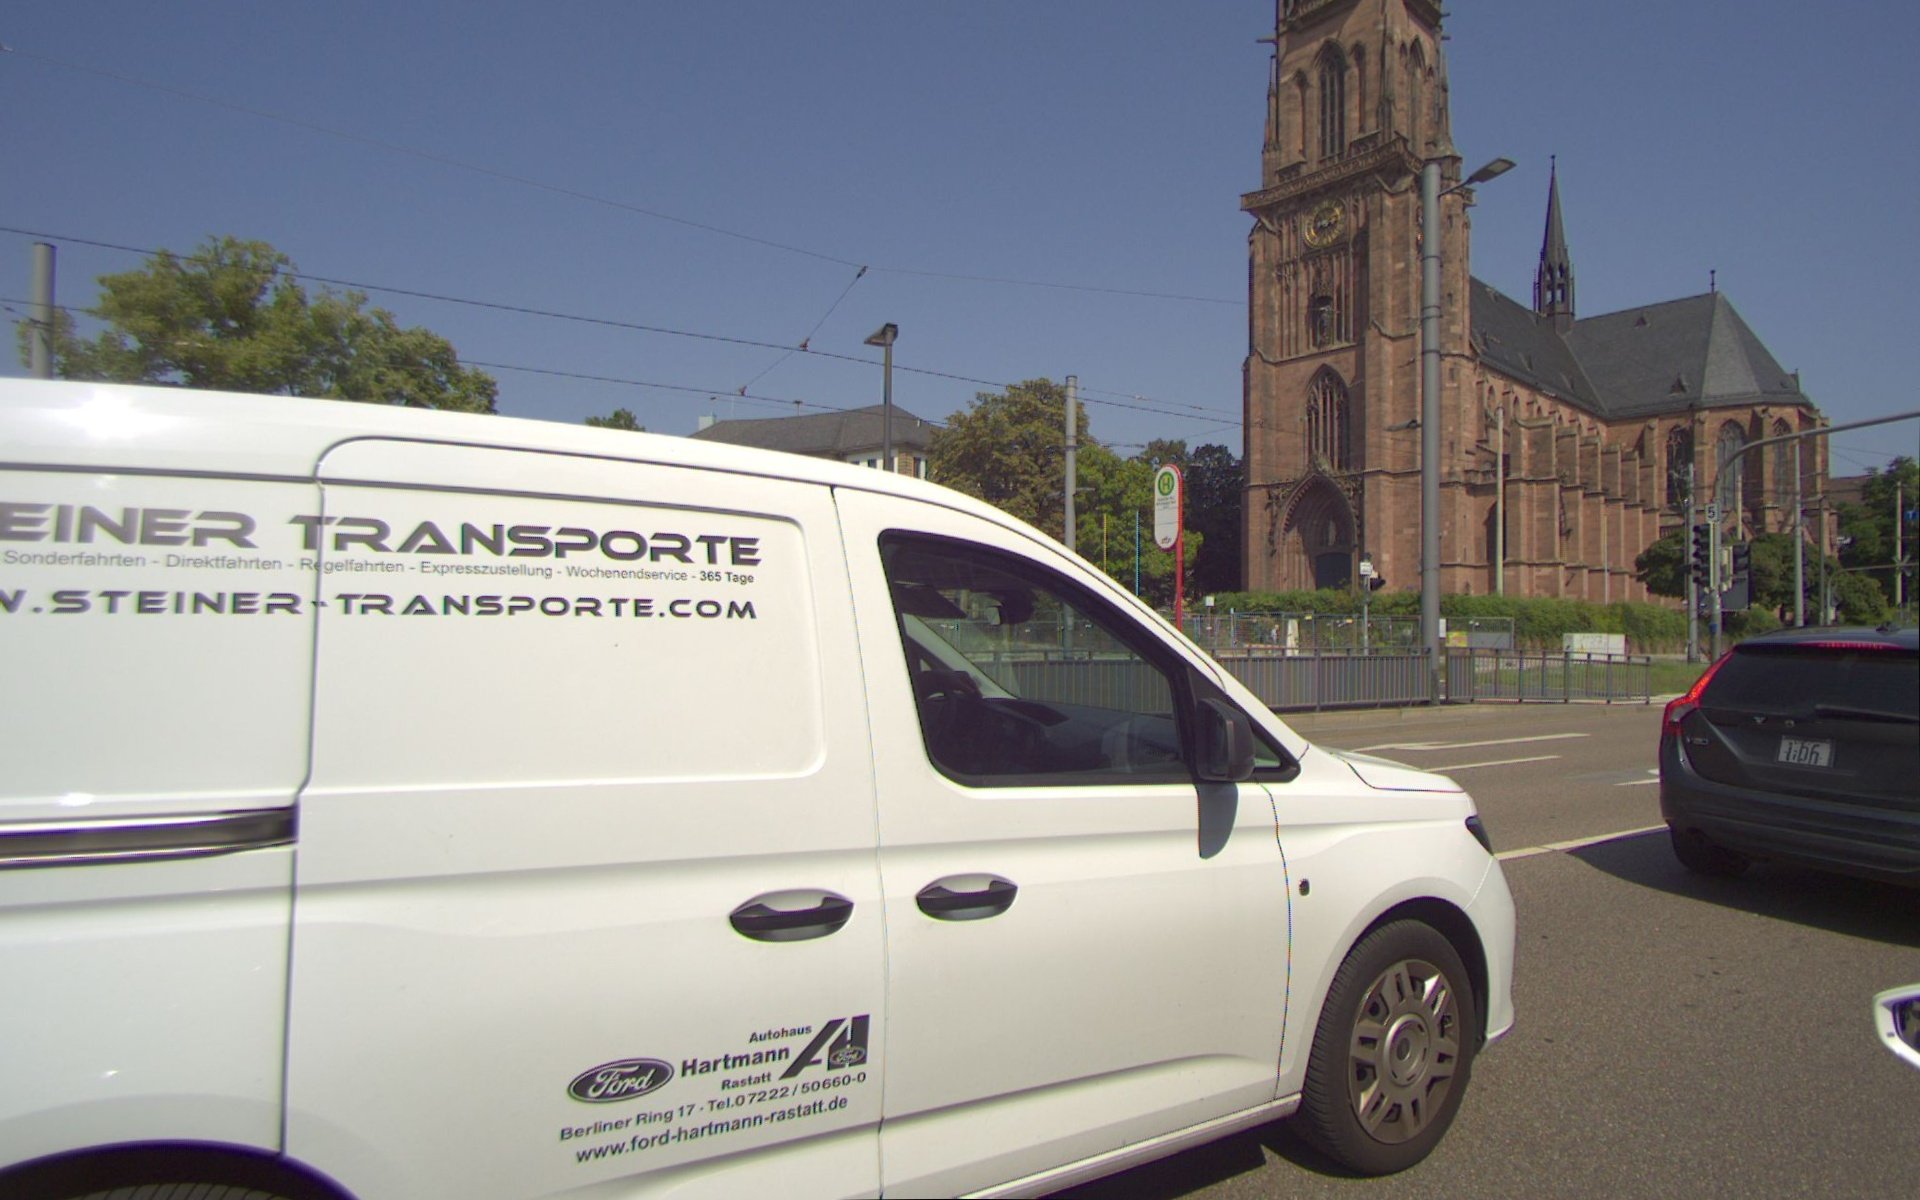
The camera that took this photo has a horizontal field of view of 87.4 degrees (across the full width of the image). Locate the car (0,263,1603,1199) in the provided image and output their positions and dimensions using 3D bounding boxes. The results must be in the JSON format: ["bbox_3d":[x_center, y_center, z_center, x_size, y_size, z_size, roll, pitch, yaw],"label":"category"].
[{"bbox_3d":[-0.323,0.550,2.695,4.189,1.844,1.739,1,-1,-30],"label":"car"}]

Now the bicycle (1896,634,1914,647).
[{"bbox_3d":[64.526,2.738,68.572,1.458,0.871,0.452,1,-2,-29],"label":"bicycle"}]

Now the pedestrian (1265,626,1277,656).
[{"bbox_3d":[16.261,2.153,52.473,0.533,1.551,0.436,0,-1,12],"label":"pedestrian"}]

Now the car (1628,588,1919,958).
[{"bbox_3d":[5.927,0.800,5.810,4.257,1.636,1.739,1,0,-30],"label":"car"}]

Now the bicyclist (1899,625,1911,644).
[{"bbox_3d":[64.522,2.345,68.574,0.419,1.339,0.446,1,-2,-28],"label":"bicyclist"}]
